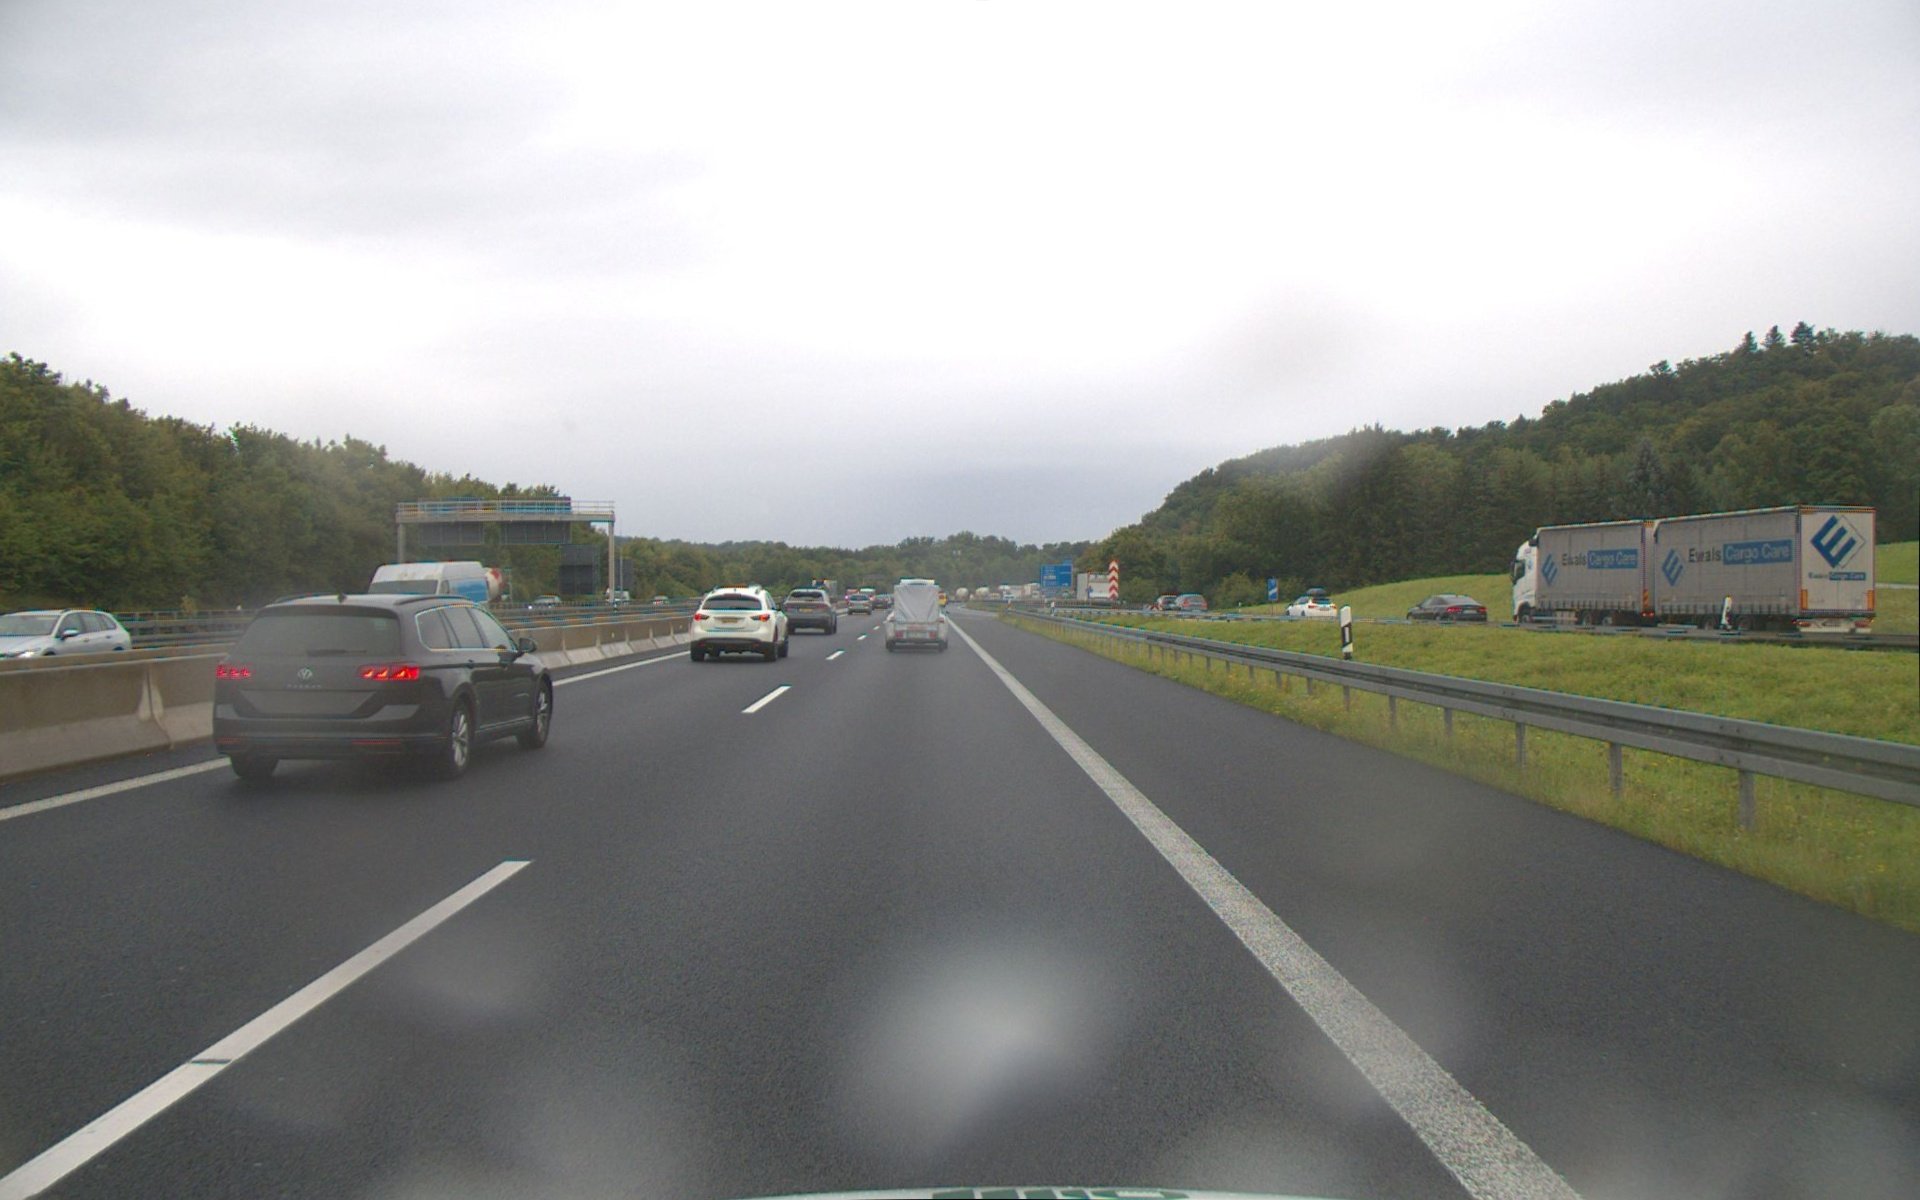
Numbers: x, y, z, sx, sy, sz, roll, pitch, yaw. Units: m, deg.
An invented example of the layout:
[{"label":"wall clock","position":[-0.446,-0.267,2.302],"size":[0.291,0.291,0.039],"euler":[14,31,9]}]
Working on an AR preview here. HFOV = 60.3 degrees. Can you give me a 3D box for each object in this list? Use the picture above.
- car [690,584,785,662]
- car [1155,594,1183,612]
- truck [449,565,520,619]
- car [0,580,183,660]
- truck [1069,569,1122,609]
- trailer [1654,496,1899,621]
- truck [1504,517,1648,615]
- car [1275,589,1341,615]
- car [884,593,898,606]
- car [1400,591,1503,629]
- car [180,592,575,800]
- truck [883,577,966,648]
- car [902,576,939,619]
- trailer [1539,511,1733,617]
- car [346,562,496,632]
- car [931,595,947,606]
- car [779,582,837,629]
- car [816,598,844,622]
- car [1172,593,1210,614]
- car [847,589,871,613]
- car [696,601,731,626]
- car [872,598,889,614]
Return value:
[{"label":"car","position":[-5.129,0.494,38.627],"size":[2.009,1.700,4.535],"euler":[1,0,-6]},{"label":"car","position":[16.059,0.255,127.133],"size":[1.662,1.311,3.534],"euler":[1,0,-1]},{"label":"truck","position":[-34.345,-0.600,119.782],"size":[2.631,3.725,9.554],"euler":[-1,0,-2]},{"label":"car","position":[-17.606,0.355,33.112],"size":[1.953,1.460,4.678],"euler":[1,0,-2]},{"label":"truck","position":[13.042,-1.056,160.494],"size":[3.750,3.723,8.263],"euler":[1,0,-5]},{"label":"trailer","position":[25.815,-1.225,52.858],"size":[3.020,3.588,8.070],"euler":[1,0,-8]},{"label":"truck","position":[24.165,-1.281,65.176],"size":[2.882,3.588,5.918],"euler":[1,0,-7]},{"label":"car","position":[19.300,0.134,91.943],"size":[1.949,1.401,5.068],"euler":[0,0,-9]},{"label":"car","position":[-8.848,-0.079,211.943],"size":[1.612,1.601,3.999],"euler":[1,0,-1]},{"label":"car","position":[19.031,0.346,64.352],"size":[1.948,1.401,5.311],"euler":[0,0,-6]},{"label":"car","position":[-4.767,0.689,14.368],"size":[1.751,1.484,4.801],"euler":[1,0,-1]},{"label":"truck","position":[-1.061,0.316,47.499],"size":[2.197,1.871,6.582],"euler":[0,0,-2]},{"label":"car","position":[-2.702,-0.163,111.266],"size":[2.285,2.773,6.535],"euler":[0,0,-3]},{"label":"trailer","position":[24.734,-1.239,61.061],"size":[2.882,3.588,8.407],"euler":[1,0,-7]},{"label":"car","position":[-14.302,-0.091,44.281],"size":[2.311,1.722,5.903],"euler":[0,0,-3]},{"label":"car","position":[-3.138,0.070,241.613],"size":[1.955,1.579,3.995],"euler":[1,0,-6]},{"label":"car","position":[-5.906,0.193,64.736],"size":[1.936,1.733,4.801],"euler":[1,0,-2]},{"label":"car","position":[-9.547,0.725,121.616],"size":[1.782,1.691,4.016],"euler":[0,0,-1]},{"label":"car","position":[14.573,0.222,104.654],"size":[1.510,1.311,3.529],"euler":[1,0,-7]},{"label":"car","position":[-7.944,0.070,130.343],"size":[1.703,1.825,3.999],"euler":[1,0,-2]},{"label":"car","position":[-17.895,0.946,120.162],"size":[1.954,1.679,5.024],"euler":[1,0,-3]},{"label":"car","position":[-8.280,0.588,171.977],"size":[1.612,1.601,3.999],"euler":[1,0,-1]}]
